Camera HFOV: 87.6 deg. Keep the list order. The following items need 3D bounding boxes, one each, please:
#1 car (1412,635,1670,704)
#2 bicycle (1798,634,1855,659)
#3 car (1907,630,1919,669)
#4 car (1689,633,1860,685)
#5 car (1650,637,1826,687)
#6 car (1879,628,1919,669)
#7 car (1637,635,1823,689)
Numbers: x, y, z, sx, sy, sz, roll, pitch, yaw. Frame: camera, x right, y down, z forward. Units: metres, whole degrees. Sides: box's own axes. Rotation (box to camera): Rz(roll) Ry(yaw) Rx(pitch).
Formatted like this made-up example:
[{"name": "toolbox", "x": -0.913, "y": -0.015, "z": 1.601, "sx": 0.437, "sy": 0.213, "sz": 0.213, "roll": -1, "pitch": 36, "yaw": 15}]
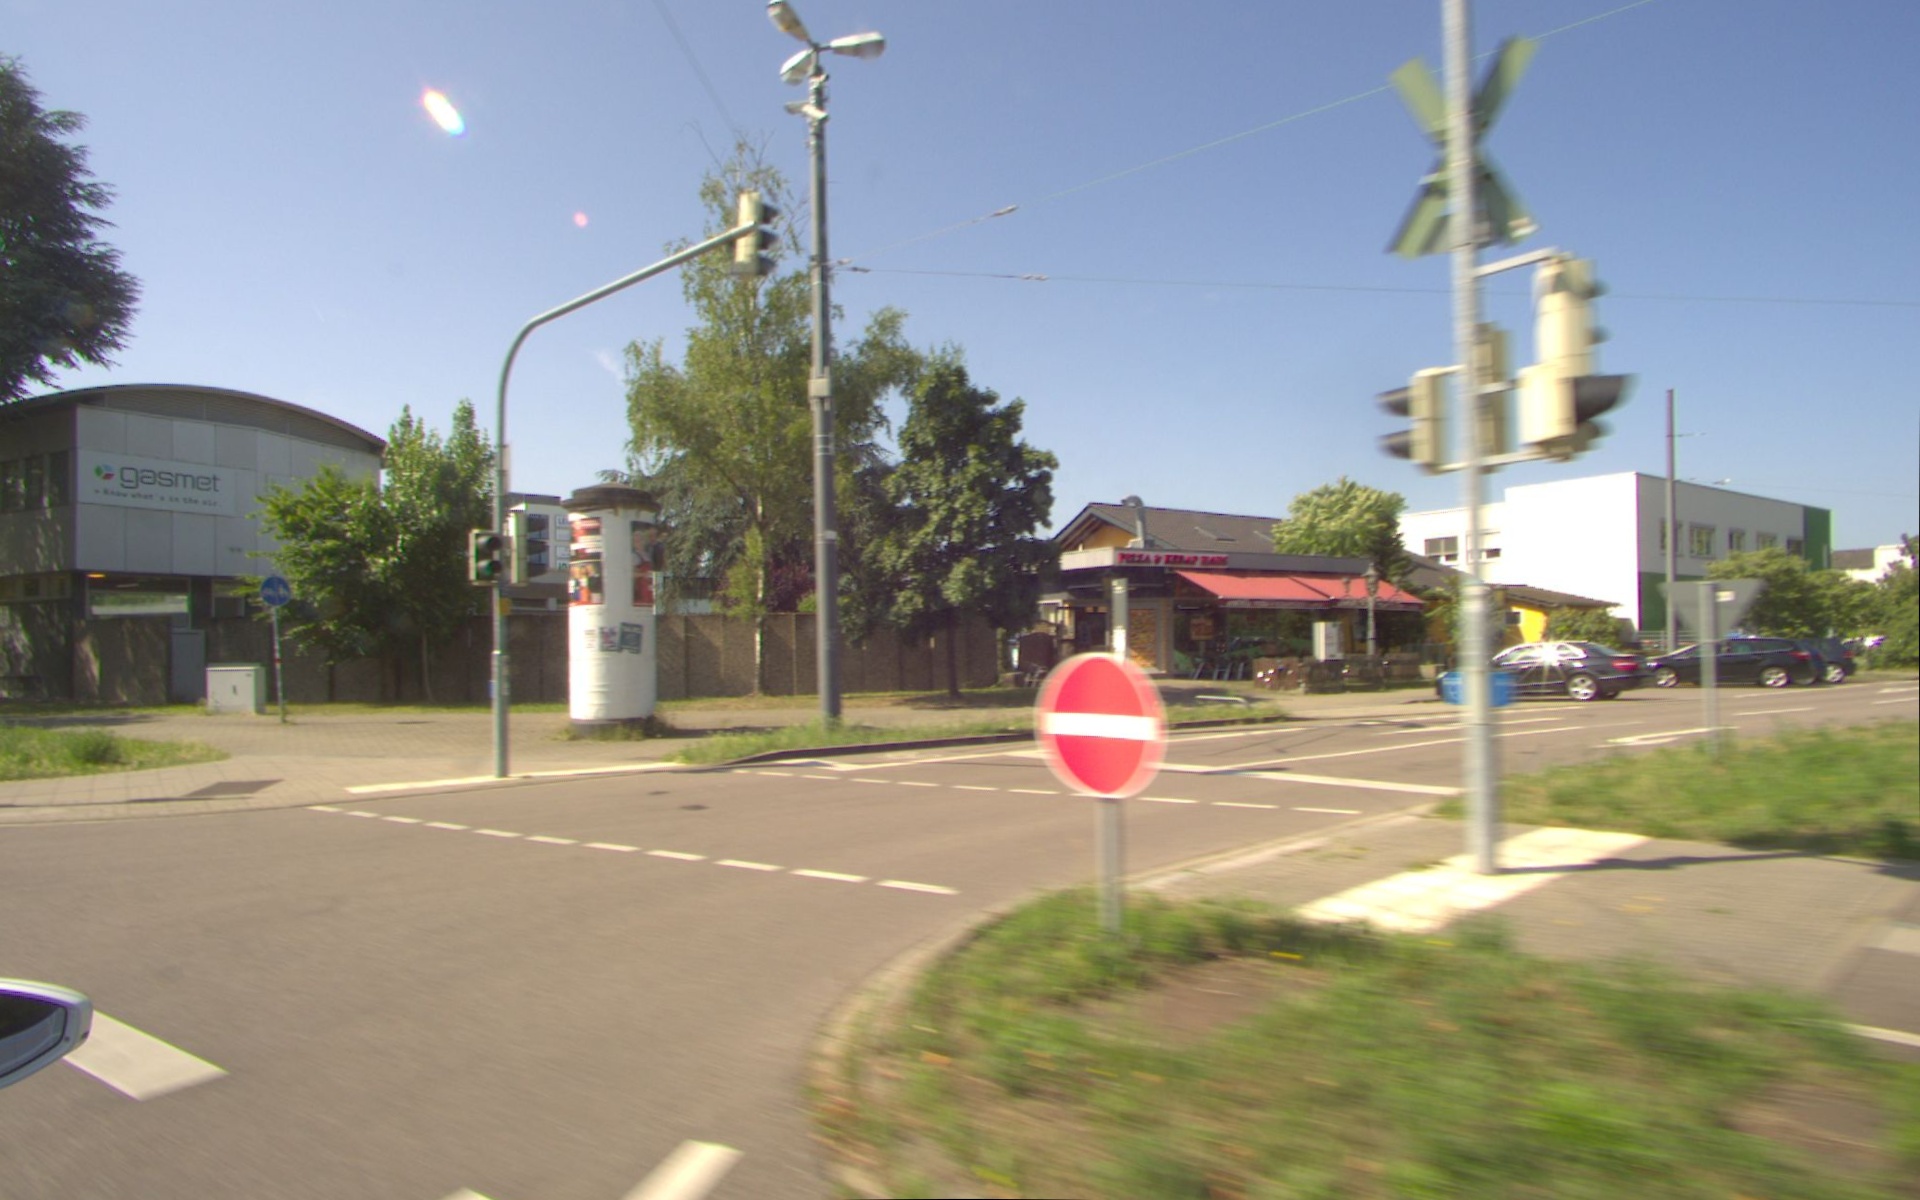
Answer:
[{"name": "car", "x": 14.208, "y": 1.690, "z": 24.776, "sx": 2.119, "sy": 1.517, "sz": 5.080, "roll": 1, "pitch": -4, "yaw": -39}, {"name": "bicycle", "x": 37.871, "y": 2.032, "z": 43.754, "sx": 2.094, "sy": 1.059, "sz": 1.108, "roll": 1, "pitch": -2, "yaw": -25}, {"name": "car", "x": 47.223, "y": 2.338, "z": 46.729, "sx": 3.937, "sy": 1.816, "sz": 1.994, "roll": -1, "pitch": -3, "yaw": 28}, {"name": "car", "x": 27.422, "y": 1.966, "z": 33.906, "sx": 4.143, "sy": 1.639, "sz": 2.134, "roll": -1, "pitch": -2, "yaw": 29}, {"name": "car", "x": 24.867, "y": 1.962, "z": 32.214, "sx": 4.143, "sy": 1.517, "sz": 2.135, "roll": -1, "pitch": -3, "yaw": 29}, {"name": "car", "x": 44.525, "y": 2.202, "z": 45.271, "sx": 3.937, "sy": 1.816, "sz": 1.994, "roll": -1, "pitch": -3, "yaw": 28}, {"name": "car", "x": 23.080, "y": 1.836, "z": 30.255, "sx": 4.143, "sy": 1.517, "sz": 2.135, "roll": -1, "pitch": -3, "yaw": 29}]
